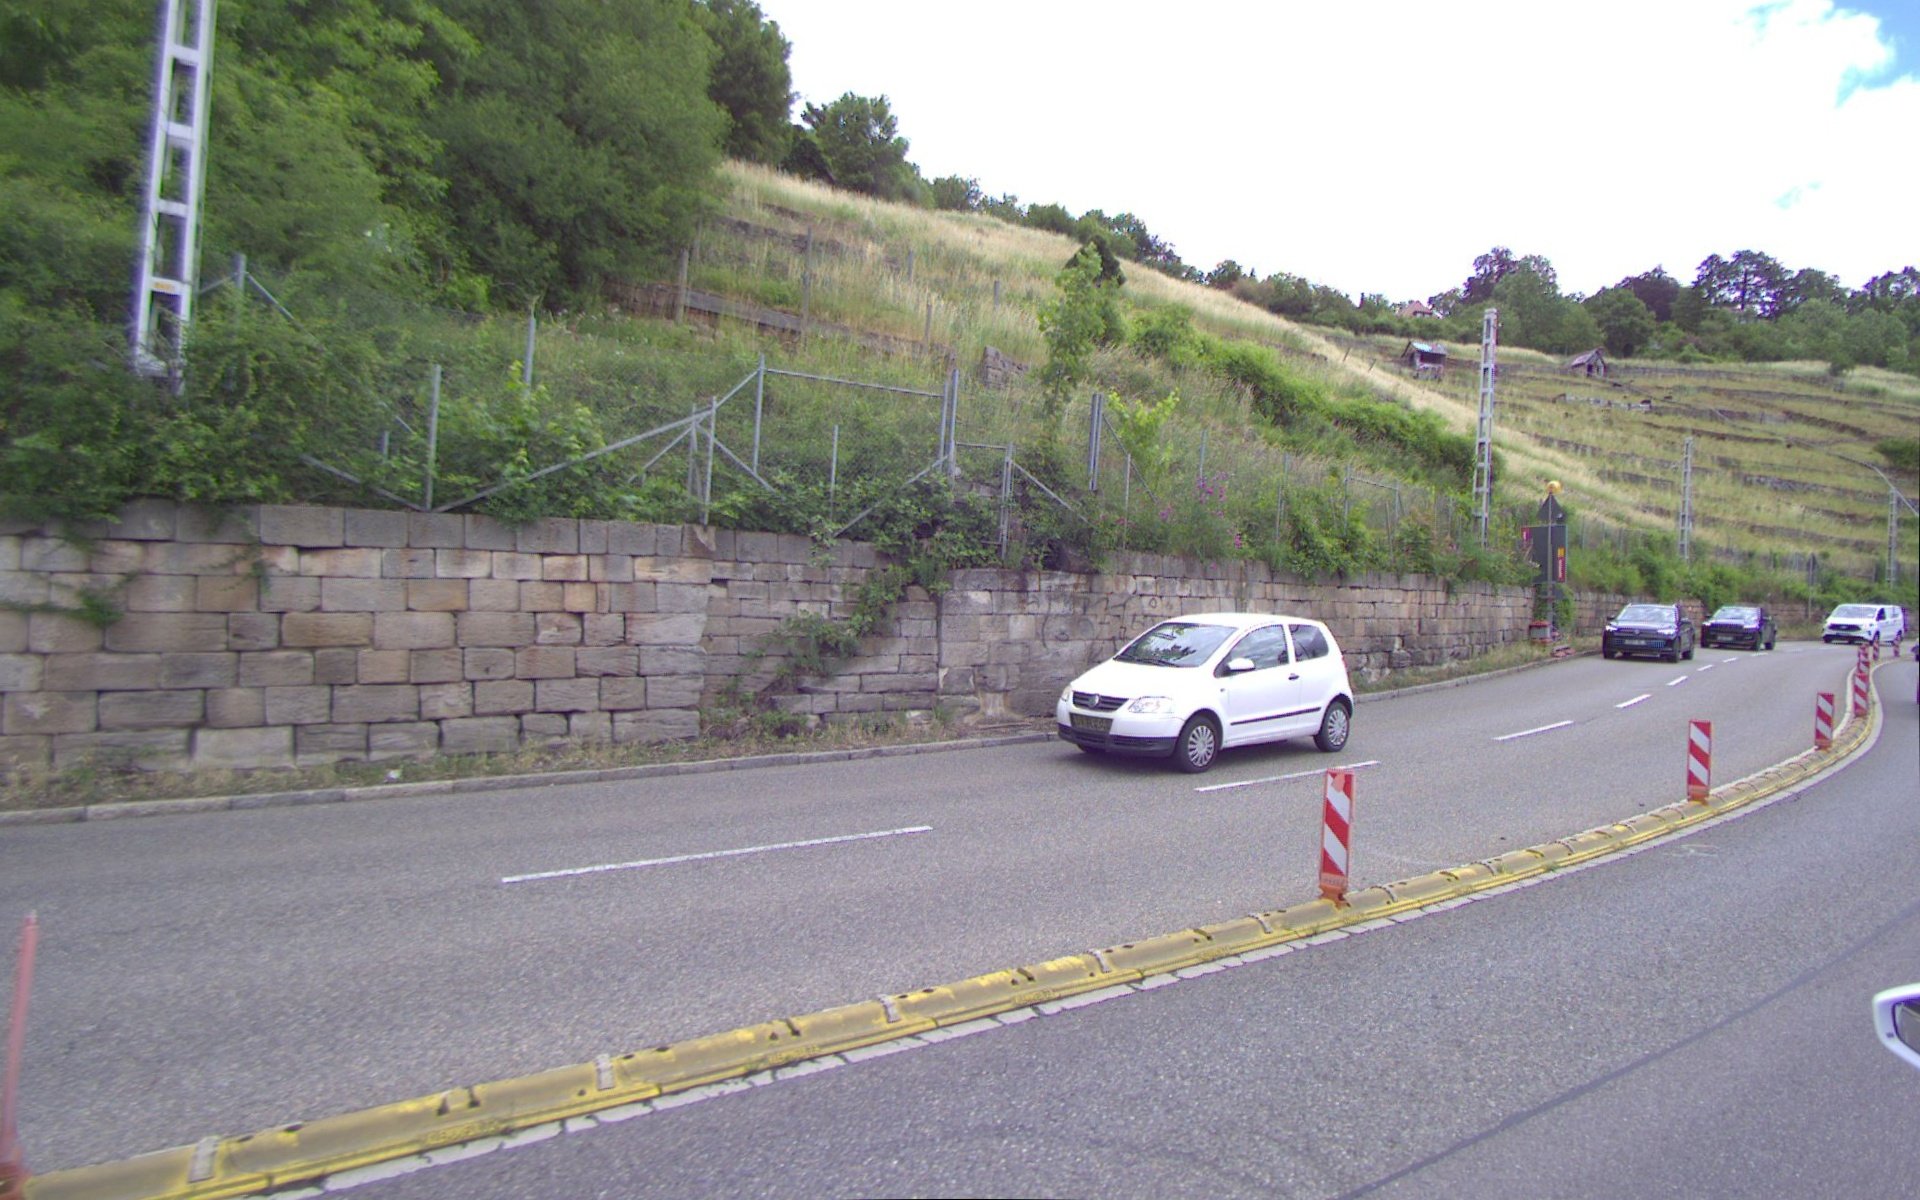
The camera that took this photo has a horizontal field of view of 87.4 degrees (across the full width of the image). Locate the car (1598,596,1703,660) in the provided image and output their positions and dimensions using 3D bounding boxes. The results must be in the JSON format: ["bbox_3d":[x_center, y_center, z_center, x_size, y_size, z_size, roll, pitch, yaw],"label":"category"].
[{"bbox_3d":[20.753,0.830,30.109,1.824,1.749,4.435,1,0,45],"label":"car"}]

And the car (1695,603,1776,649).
[{"bbox_3d":[30.368,1.011,39.278,4.318,1.645,1.846,1,1,-44],"label":"car"}]

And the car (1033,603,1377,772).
[{"bbox_3d":[2.848,0.853,11.282,3.965,1.569,1.688,1,0,-38],"label":"car"}]

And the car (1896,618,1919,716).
[{"bbox_3d":[16.741,1.089,16.401,1.806,1.479,4.464,3,1,40],"label":"car"}]

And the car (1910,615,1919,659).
[{"bbox_3d":[35.286,1.339,35.477,4.629,1.522,1.977,3,-4,-40],"label":"car"}]

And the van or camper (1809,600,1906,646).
[{"bbox_3d":[44.183,1.125,49.438,4.906,2.043,2.137,3,0,-30],"label":"van or camper"}]
